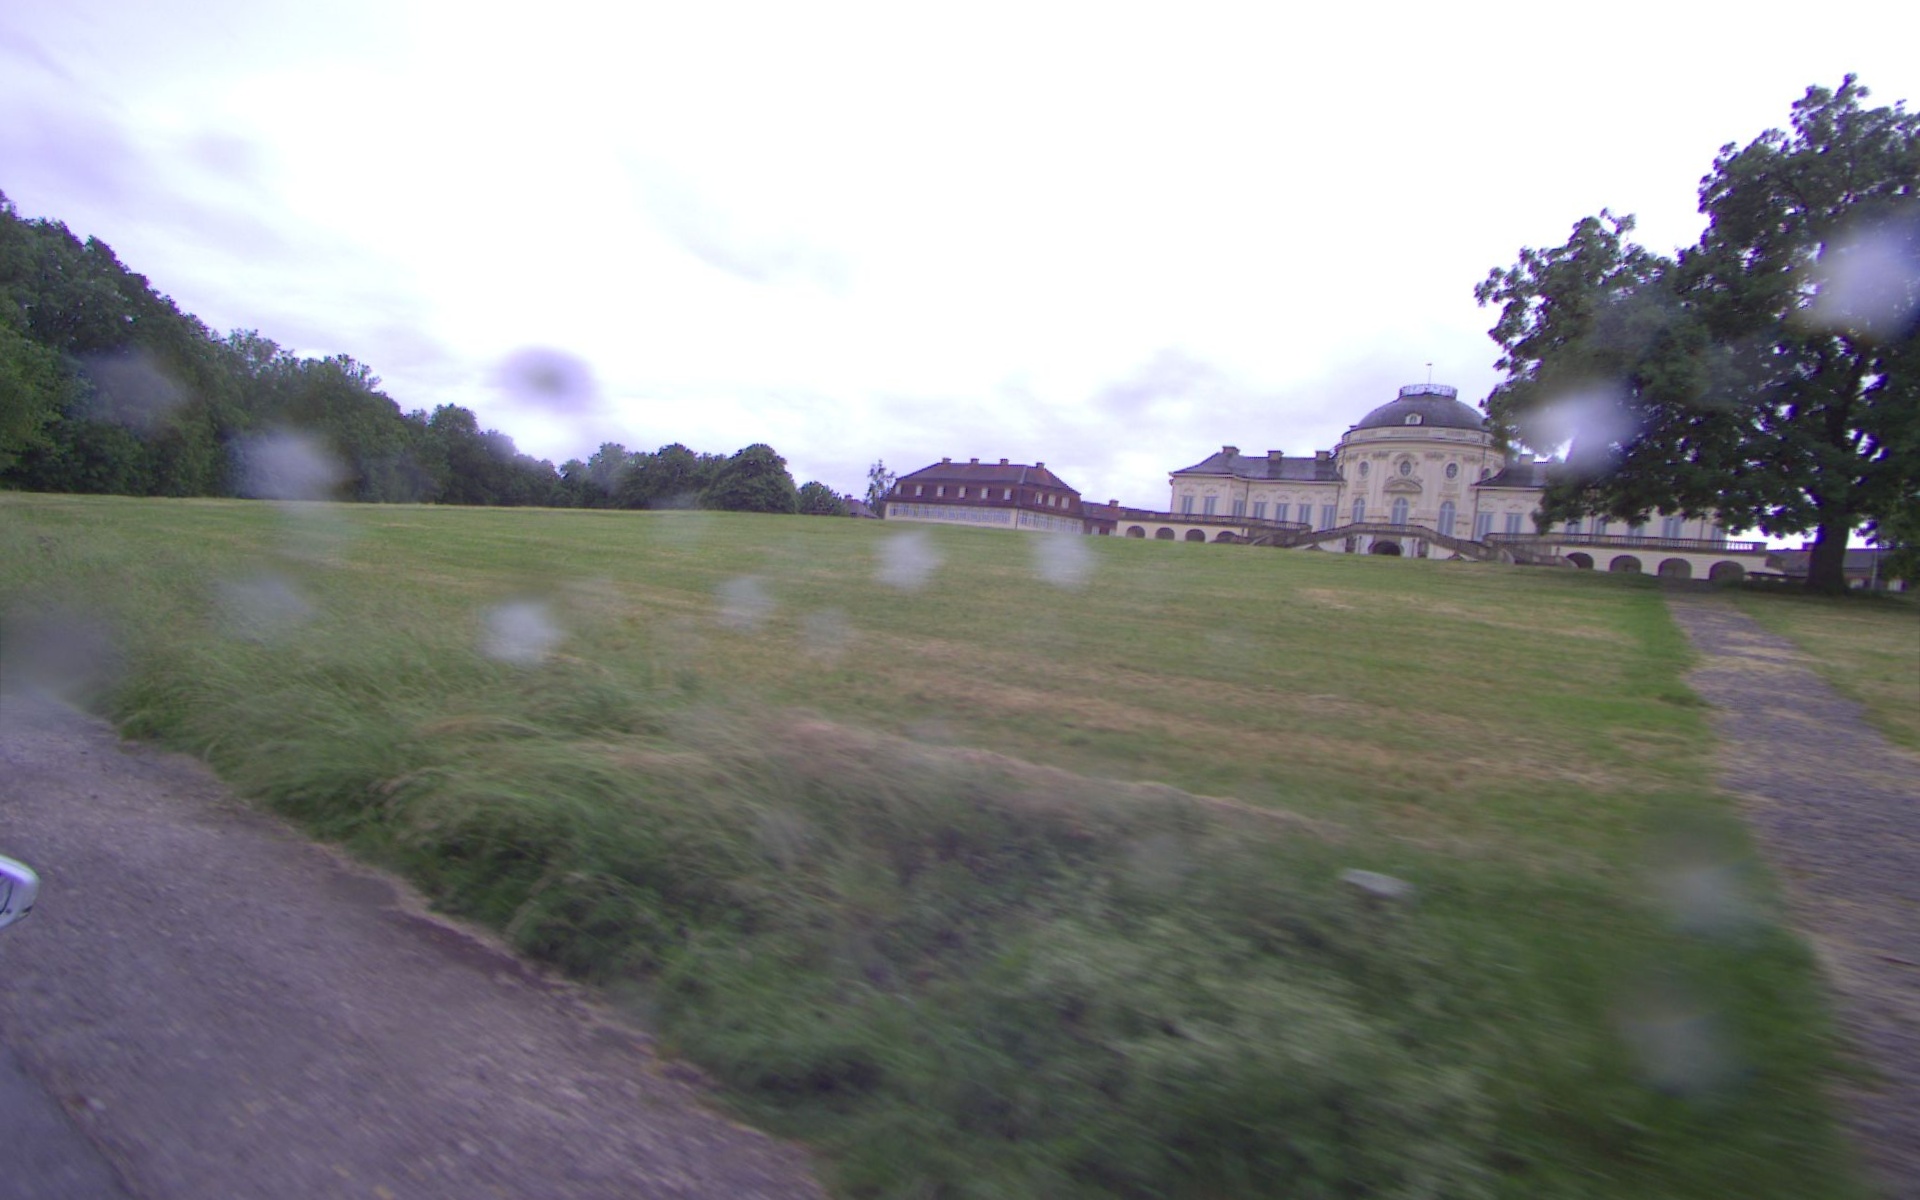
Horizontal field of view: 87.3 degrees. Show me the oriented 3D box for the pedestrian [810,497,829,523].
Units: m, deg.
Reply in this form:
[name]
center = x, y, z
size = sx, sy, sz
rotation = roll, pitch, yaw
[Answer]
[pedestrian]
center = -10.291, -6.607, 73.556
size = 0.921, 1.758, 0.795
rotation = 7, 1, -36
